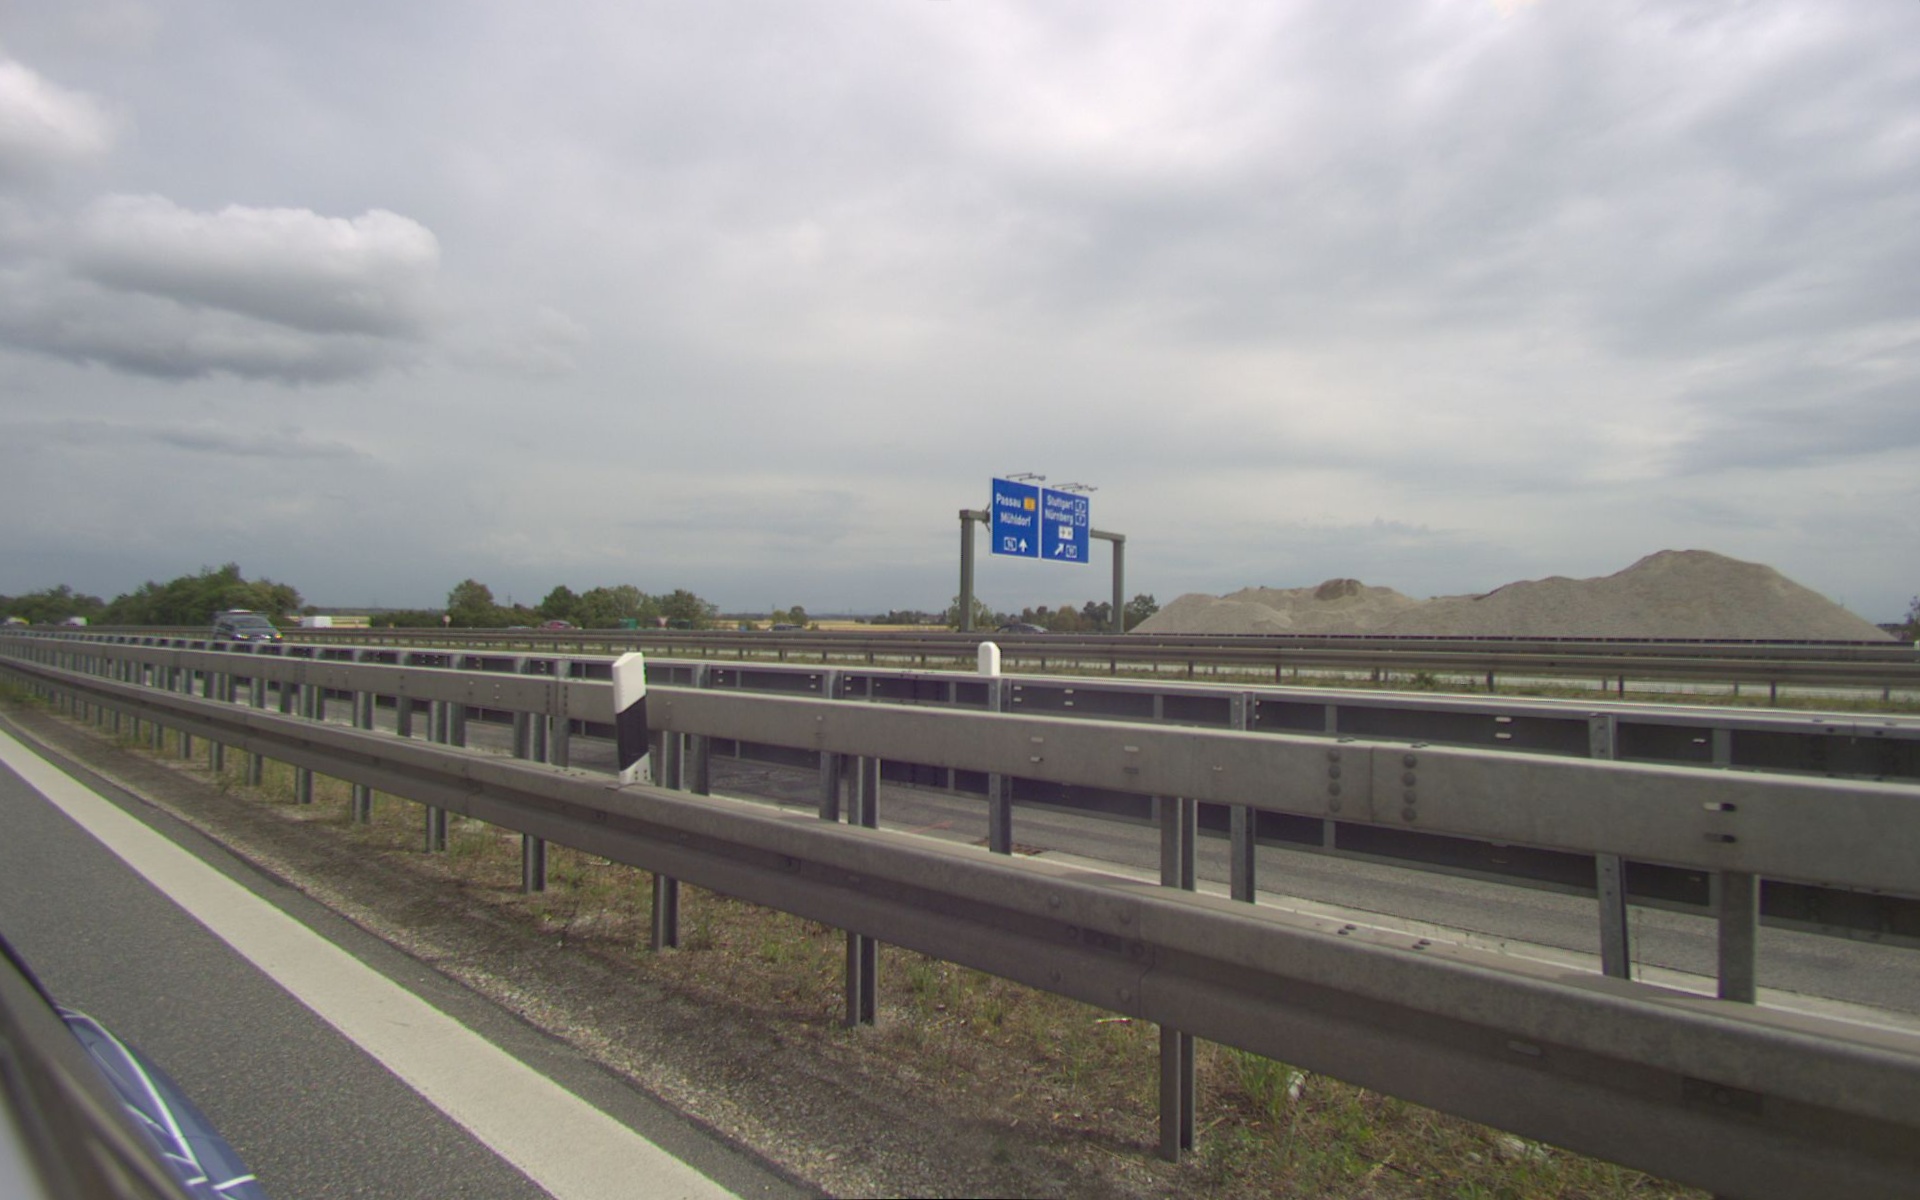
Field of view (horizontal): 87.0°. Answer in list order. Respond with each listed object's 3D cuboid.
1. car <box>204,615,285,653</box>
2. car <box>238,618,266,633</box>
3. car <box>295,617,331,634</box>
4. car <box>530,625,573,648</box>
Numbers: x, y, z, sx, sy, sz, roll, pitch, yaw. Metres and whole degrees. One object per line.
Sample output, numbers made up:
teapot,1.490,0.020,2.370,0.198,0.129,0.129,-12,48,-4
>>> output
car,-32.353,1.509,45.713,4.611,1.558,1.862,-1,0,40
car,-90.859,3.285,129.838,3.993,1.874,1.809,-1,0,37
car,-74.765,2.958,116.931,4.745,1.874,2.080,-1,0,39
car,-34.792,3.078,86.152,3.999,1.874,1.779,-1,0,42
